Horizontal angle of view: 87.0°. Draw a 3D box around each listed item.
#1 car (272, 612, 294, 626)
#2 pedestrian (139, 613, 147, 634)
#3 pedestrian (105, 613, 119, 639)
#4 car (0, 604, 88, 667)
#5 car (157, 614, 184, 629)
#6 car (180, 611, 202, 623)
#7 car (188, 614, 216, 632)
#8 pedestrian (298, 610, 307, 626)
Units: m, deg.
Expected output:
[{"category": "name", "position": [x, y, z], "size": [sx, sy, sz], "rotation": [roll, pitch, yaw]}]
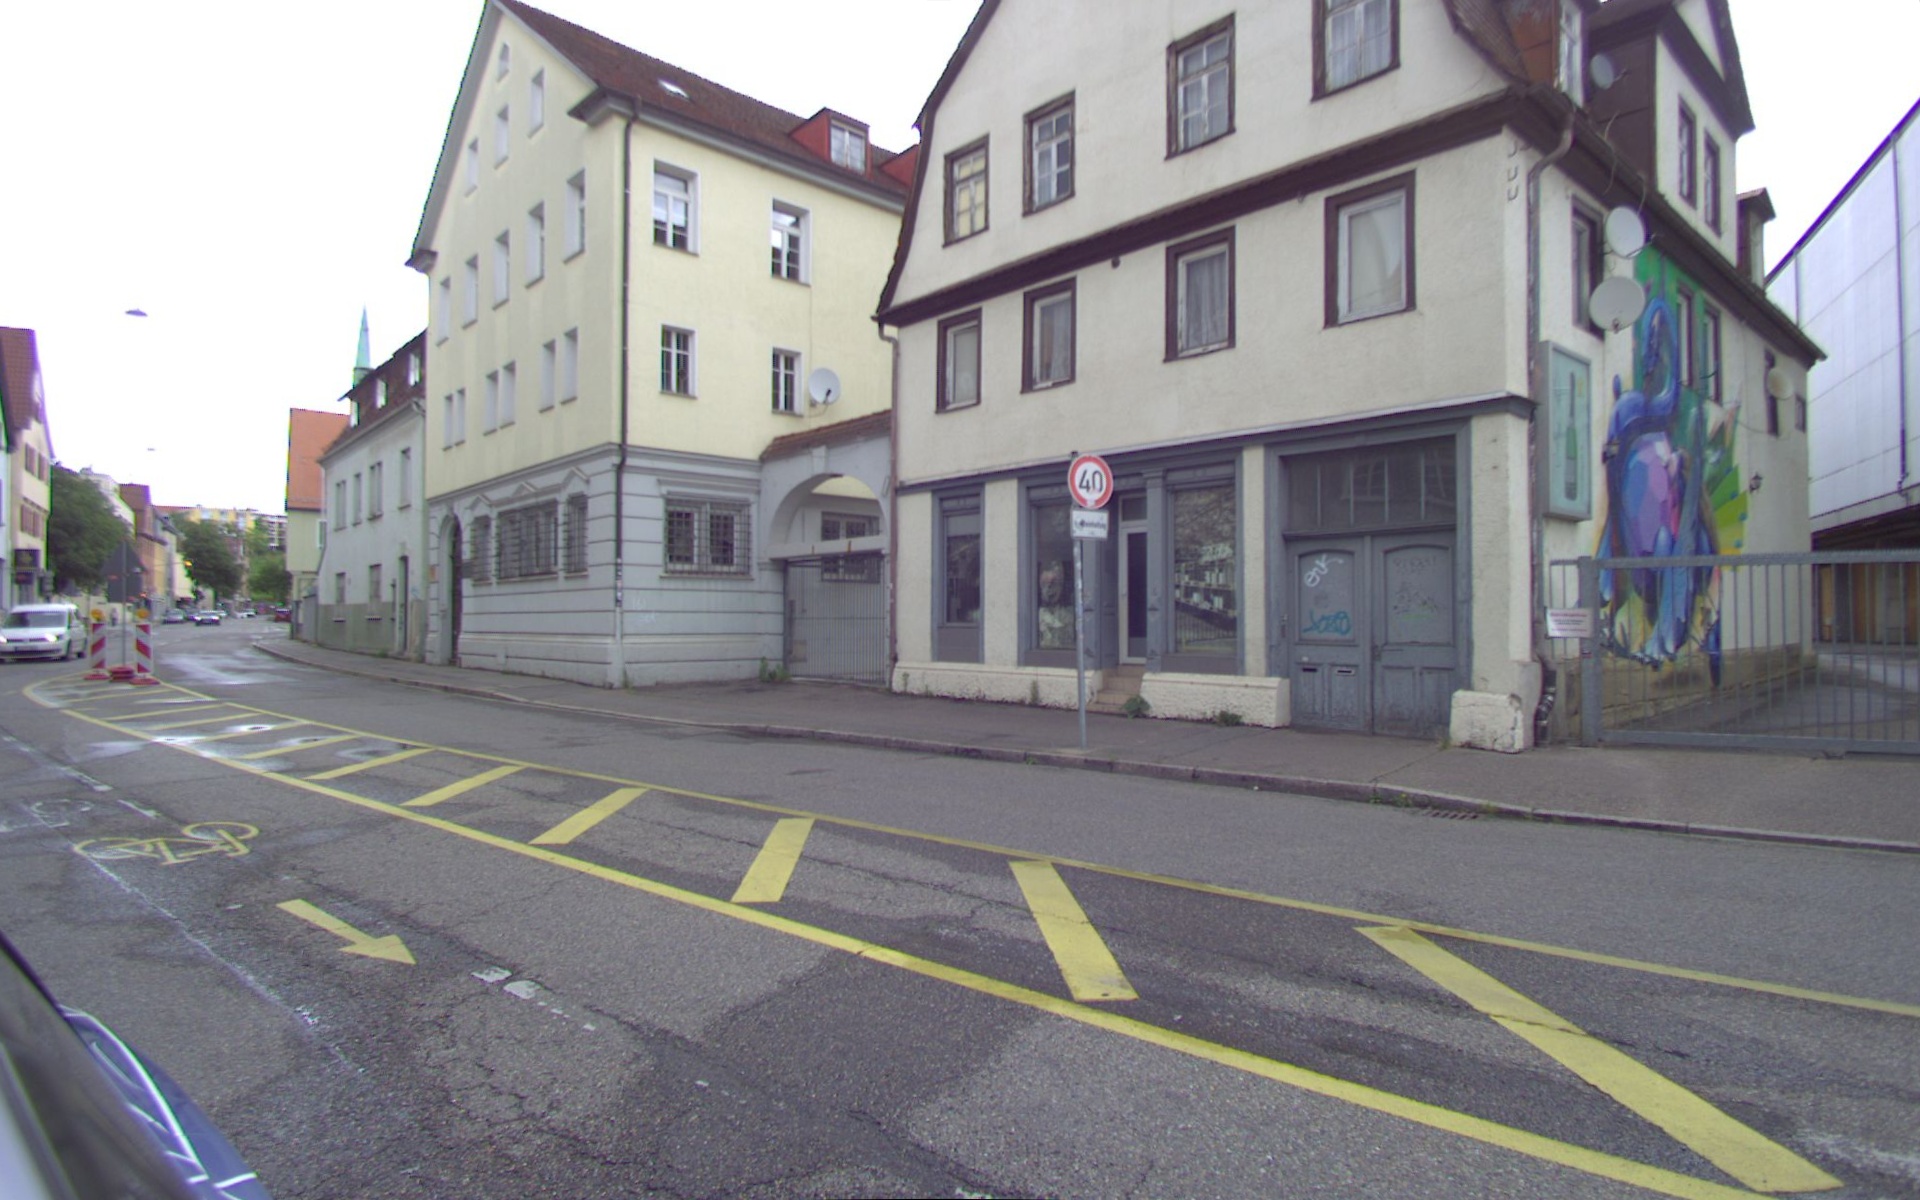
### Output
[{"category": "car", "position": [-85.895, 2.454, 128.409], "size": [2.178, 1.690, 4.509], "rotation": [2, -2, -36]}, {"category": "pedestrian", "position": [-82.992, 2.370, 102.795], "size": [0.650, 2.131, 0.647], "rotation": [1, -2, -39]}, {"category": "pedestrian", "position": [-76.184, 2.356, 90.967], "size": [0.888, 2.328, 0.822], "rotation": [1, -2, -36]}, {"category": "car", "position": [-28.546, 1.043, 31.292], "size": [1.967, 1.800, 4.478], "rotation": [2, -1, -36]}, {"category": "car", "position": [-84.984, 2.291, 108.979], "size": [2.001, 1.567, 4.010], "rotation": [2, -2, -35]}, {"category": "car", "position": [-96.608, 2.160, 127.187], "size": [1.792, 1.399, 4.011], "rotation": [2, -2, -32]}, {"category": "car", "position": [-73.419, 2.235, 98.015], "size": [1.967, 1.691, 4.010], "rotation": [0, 0, -34]}, {"category": "pedestrian", "position": [-83.197, 2.279, 128.079], "size": [0.823, 2.029, 0.847], "rotation": [1, -2, -36]}]
